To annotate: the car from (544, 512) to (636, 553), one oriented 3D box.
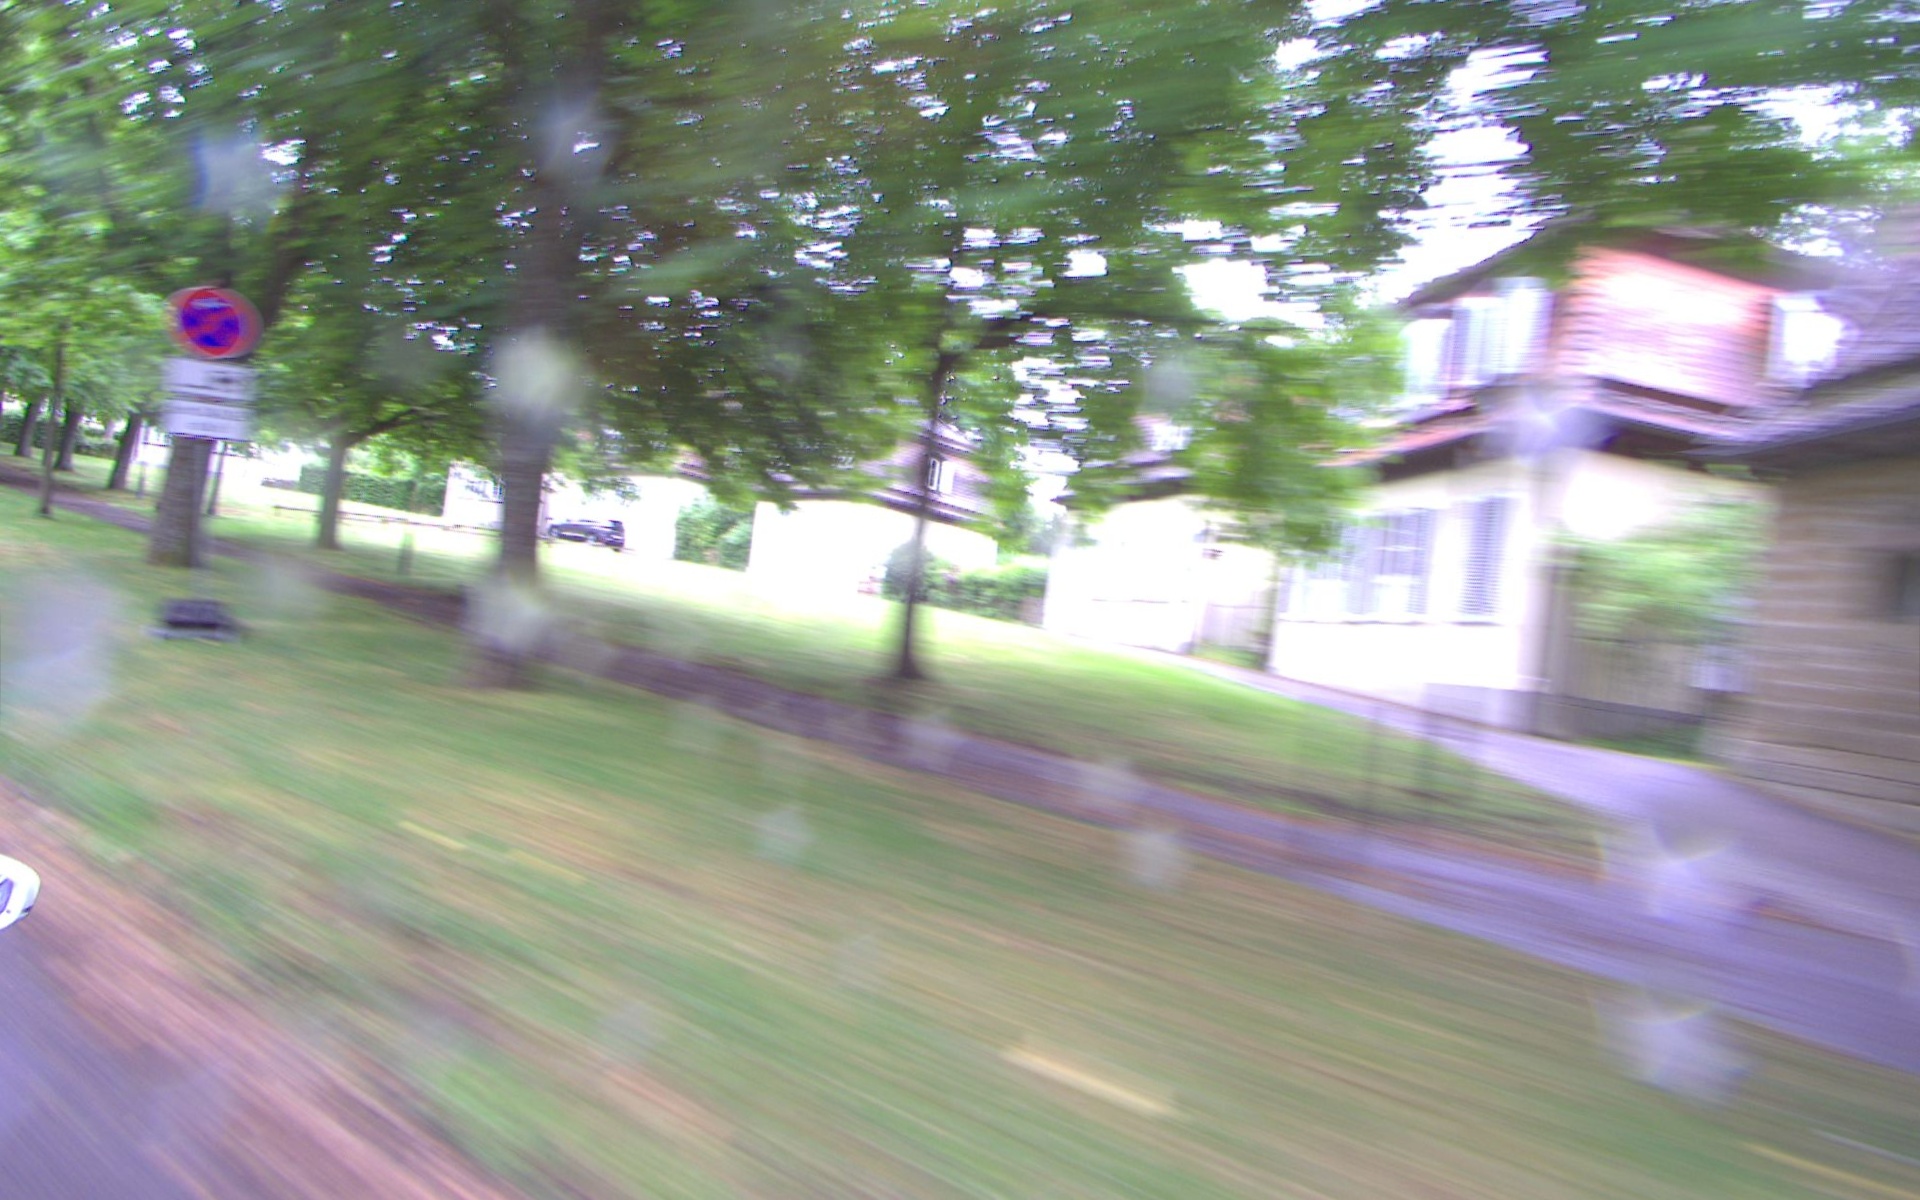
[{"bbox_3d":[-18.849,-3.445,51.169,4.432,1.528,1.994,8,3,32],"label":"car"}]
